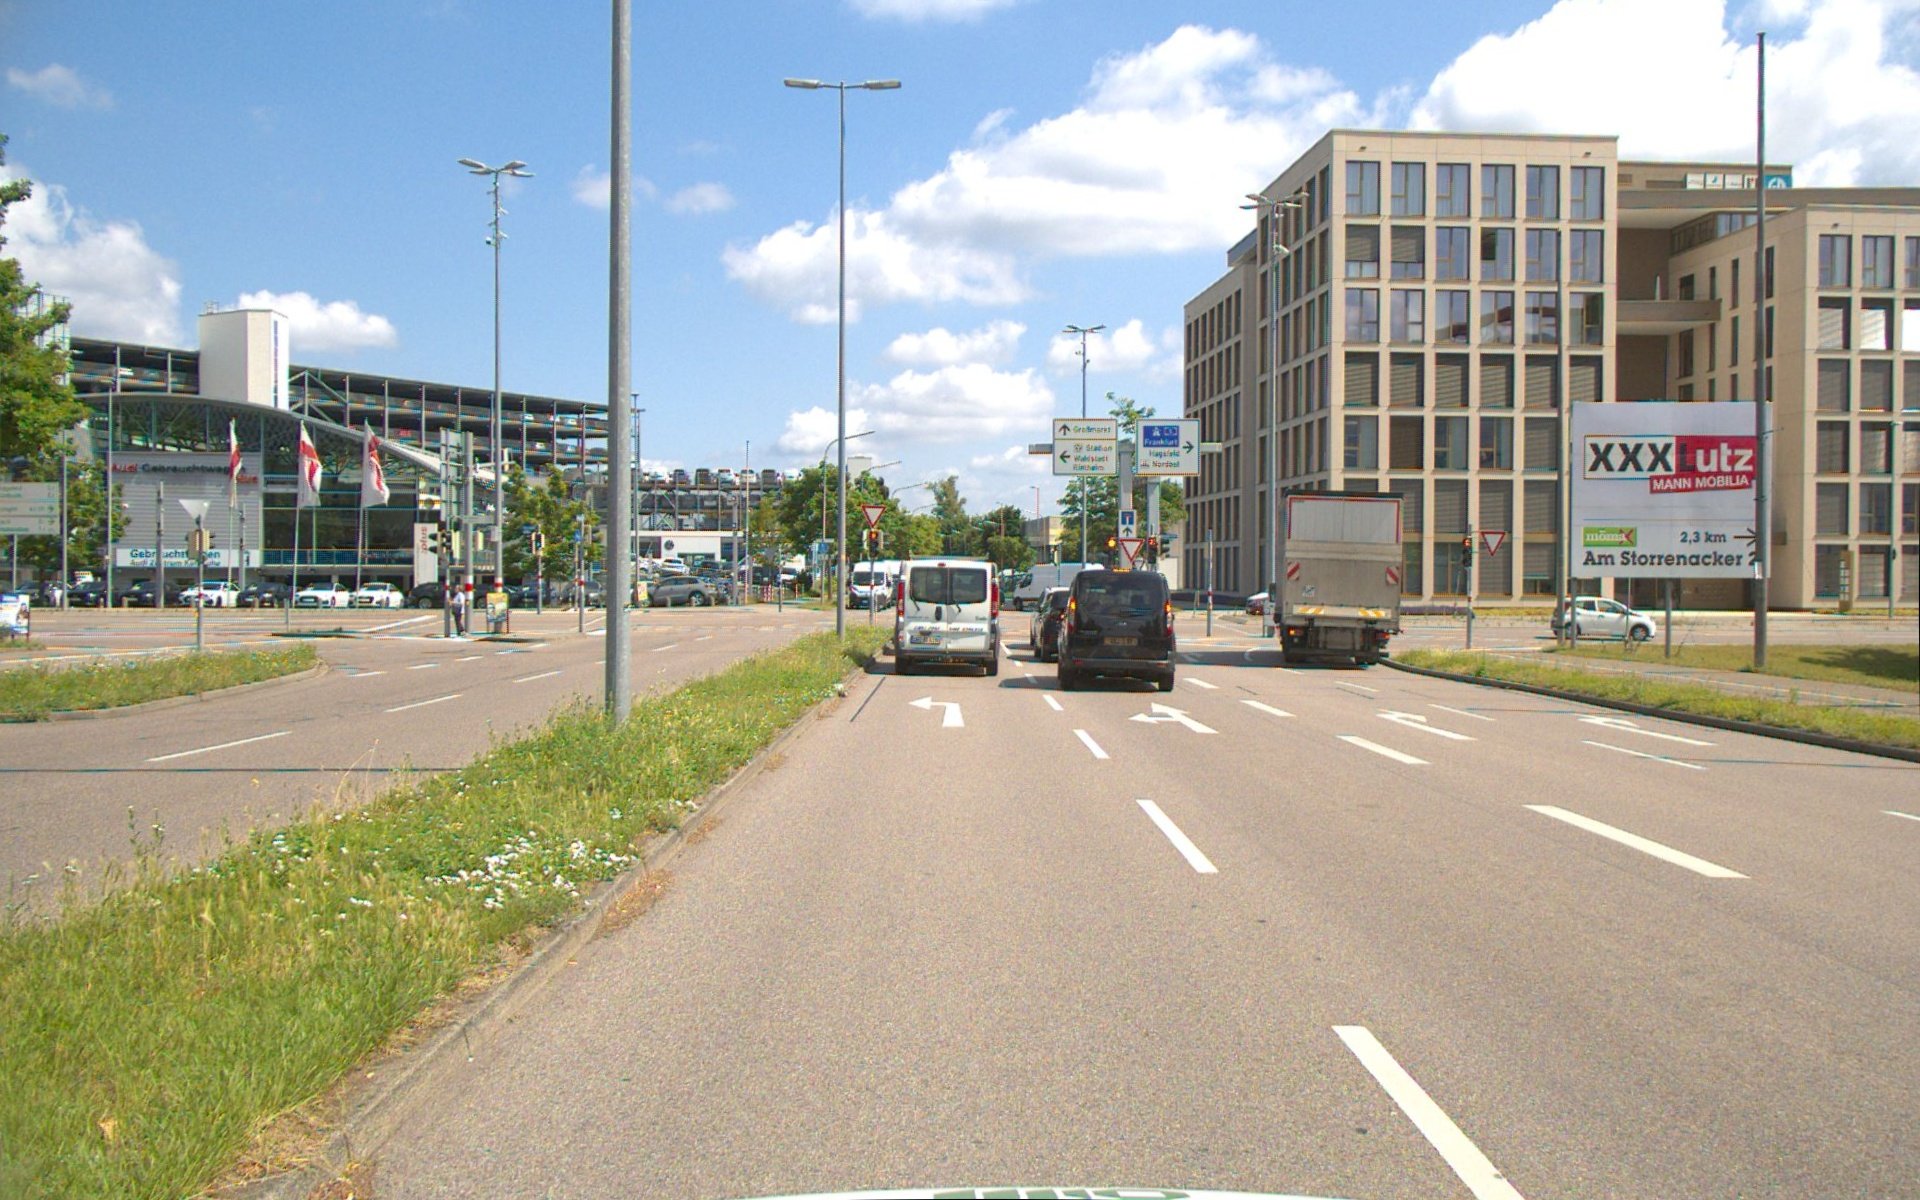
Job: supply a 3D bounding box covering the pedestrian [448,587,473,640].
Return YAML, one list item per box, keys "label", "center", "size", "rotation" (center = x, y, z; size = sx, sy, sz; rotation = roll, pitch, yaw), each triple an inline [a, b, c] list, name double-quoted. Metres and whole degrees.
- label: "pedestrian"
  center: [-14.740, 0.386, 48.816]
  size: [0.460, 1.538, 0.511]
  rotation: [1, 0, 24]

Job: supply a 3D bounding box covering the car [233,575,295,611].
- label: "car"
  center: [-34.245, -0.362, 81.463]
  size: [1.722, 1.689, 3.614]
  rotation: [1, 1, -5]

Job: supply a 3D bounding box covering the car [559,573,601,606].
- label: "car"
  center: [-19.161, -0.524, 83.359]
  size: [1.788, 1.579, 3.981]
  rotation: [1, 0, -17]

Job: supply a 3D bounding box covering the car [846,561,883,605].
- label: "car"
  center: [-5.298, -0.958, 91.042]
  size: [1.932, 2.295, 4.977]
  rotation: [-1, 1, -4]

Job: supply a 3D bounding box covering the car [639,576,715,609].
- label: "car"
  center: [-15.048, -0.426, 88.217]
  size: [3.785, 1.668, 1.856]
  rotation: [-1, 1, -4]

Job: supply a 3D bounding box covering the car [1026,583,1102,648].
- label: "car"
  center: [2.673, 0.391, 43.243]
  size: [1.704, 1.570, 4.000]
  rotation: [2, 0, 0]

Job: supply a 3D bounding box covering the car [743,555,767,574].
- label: "car"
  center: [-17.374, -3.035, 140.251]
  size: [1.810, 1.556, 3.997]
  rotation: [1, 1, -5]

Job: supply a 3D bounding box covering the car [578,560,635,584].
- label: "car"
  center: [-27.119, -2.107, 127.043]
  size: [4.085, 1.743, 1.687]
  rotation: [1, 0, -6]

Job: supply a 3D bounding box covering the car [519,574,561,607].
- label: "car"
  center: [-20.977, -0.491, 82.512]
  size: [1.788, 1.579, 3.981]
  rotation: [1, 0, -17]

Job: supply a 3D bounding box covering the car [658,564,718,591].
- label: "car"
  center: [-19.520, -1.630, 118.801]
  size: [4.085, 1.742, 1.687]
  rotation: [2, 1, -7]

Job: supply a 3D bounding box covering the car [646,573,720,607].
- label: "car"
  center: [-15.148, -0.563, 90.619]
  size: [3.835, 1.742, 1.688]
  rotation: [-1, 1, -4]

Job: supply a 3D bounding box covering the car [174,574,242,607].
- label: "car"
  center: [-36.954, -0.497, 81.403]
  size: [1.842, 1.512, 3.698]
  rotation: [1, 1, -4]

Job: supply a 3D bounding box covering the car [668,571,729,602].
- label: "car"
  center: [-15.472, -0.802, 98.050]
  size: [3.439, 1.742, 1.602]
  rotation: [-1, 1, -4]

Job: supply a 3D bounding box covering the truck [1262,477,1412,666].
- label: "truck"
  center: [8.916, -0.648, 39.785]
  size: [3.063, 4.009, 8.866]
  rotation: [1, 0, 11]

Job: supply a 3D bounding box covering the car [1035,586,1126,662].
- label: "car"
  center: [2.605, 0.502, 36.444]
  size: [1.704, 1.521, 4.000]
  rotation: [2, 0, 0]

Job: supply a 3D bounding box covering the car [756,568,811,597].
- label: "car"
  center: [-12.779, -1.260, 119.658]
  size: [3.911, 1.959, 1.824]
  rotation: [1, 0, -7]

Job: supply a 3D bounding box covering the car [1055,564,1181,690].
- label: "car"
  center: [2.493, 0.388, 26.840]
  size: [1.782, 1.840, 4.001]
  rotation: [2, 0, 2]

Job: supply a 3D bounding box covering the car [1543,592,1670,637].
- label: "car"
  center: [22.725, 0.504, 58.196]
  size: [3.772, 1.492, 1.695]
  rotation: [1, 1, -1]

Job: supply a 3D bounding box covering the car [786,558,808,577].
- label: "car"
  center: [-13.869, -2.778, 140.663]
  size: [1.810, 1.556, 3.997]
  rotation: [1, 1, -5]

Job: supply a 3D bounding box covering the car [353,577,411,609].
- label: "car"
  center: [-28.694, -0.369, 82.212]
  size: [1.741, 1.475, 4.026]
  rotation: [1, 1, -4]

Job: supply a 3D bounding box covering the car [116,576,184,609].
- label: "car"
  center: [-39.737, -0.378, 81.196]
  size: [1.693, 1.512, 3.698]
  rotation: [1, 1, -4]

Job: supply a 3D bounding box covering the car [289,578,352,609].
- label: "car"
  center: [-31.636, -0.342, 81.968]
  size: [1.870, 1.400, 3.749]
  rotation: [1, 1, -4]

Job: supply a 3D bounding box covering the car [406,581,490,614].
- label: "car"
  center: [-25.363, -0.128, 82.032]
  size: [3.718, 1.539, 1.677]
  rotation: [1, 1, -6]

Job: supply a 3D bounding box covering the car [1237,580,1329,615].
- label: "car"
  center: [14.787, -0.112, 75.857]
  size: [3.815, 1.516, 1.794]
  rotation: [1, 1, -2]

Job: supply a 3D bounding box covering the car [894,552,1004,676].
- label: "car"
  center: [-0.132, 0.228, 30.108]
  size: [1.817, 2.053, 4.001]
  rotation: [1, 0, 1]

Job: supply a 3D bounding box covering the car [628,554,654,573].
- label: "car"
  center: [-27.284, -3.137, 141.543]
  size: [1.810, 1.556, 3.997]
  rotation: [1, 1, -5]

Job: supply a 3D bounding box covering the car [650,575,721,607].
- label: "car"
  center: [-15.784, -0.536, 95.183]
  size: [3.835, 1.742, 1.688]
  rotation: [-1, 1, -4]

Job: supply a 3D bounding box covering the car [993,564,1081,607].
- label: "car"
  center: [4.225, -0.816, 91.987]
  size: [1.977, 2.294, 5.446]
  rotation: [0, 1, -35]

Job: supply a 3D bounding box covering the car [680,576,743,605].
- label: "car"
  center: [-15.913, -0.633, 106.158]
  size: [3.835, 1.742, 1.688]
  rotation: [-1, 1, -4]

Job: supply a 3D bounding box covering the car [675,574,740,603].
- label: "car"
  center: [-15.820, -0.724, 103.776]
  size: [3.835, 1.742, 1.688]
  rotation: [-1, 1, -4]
